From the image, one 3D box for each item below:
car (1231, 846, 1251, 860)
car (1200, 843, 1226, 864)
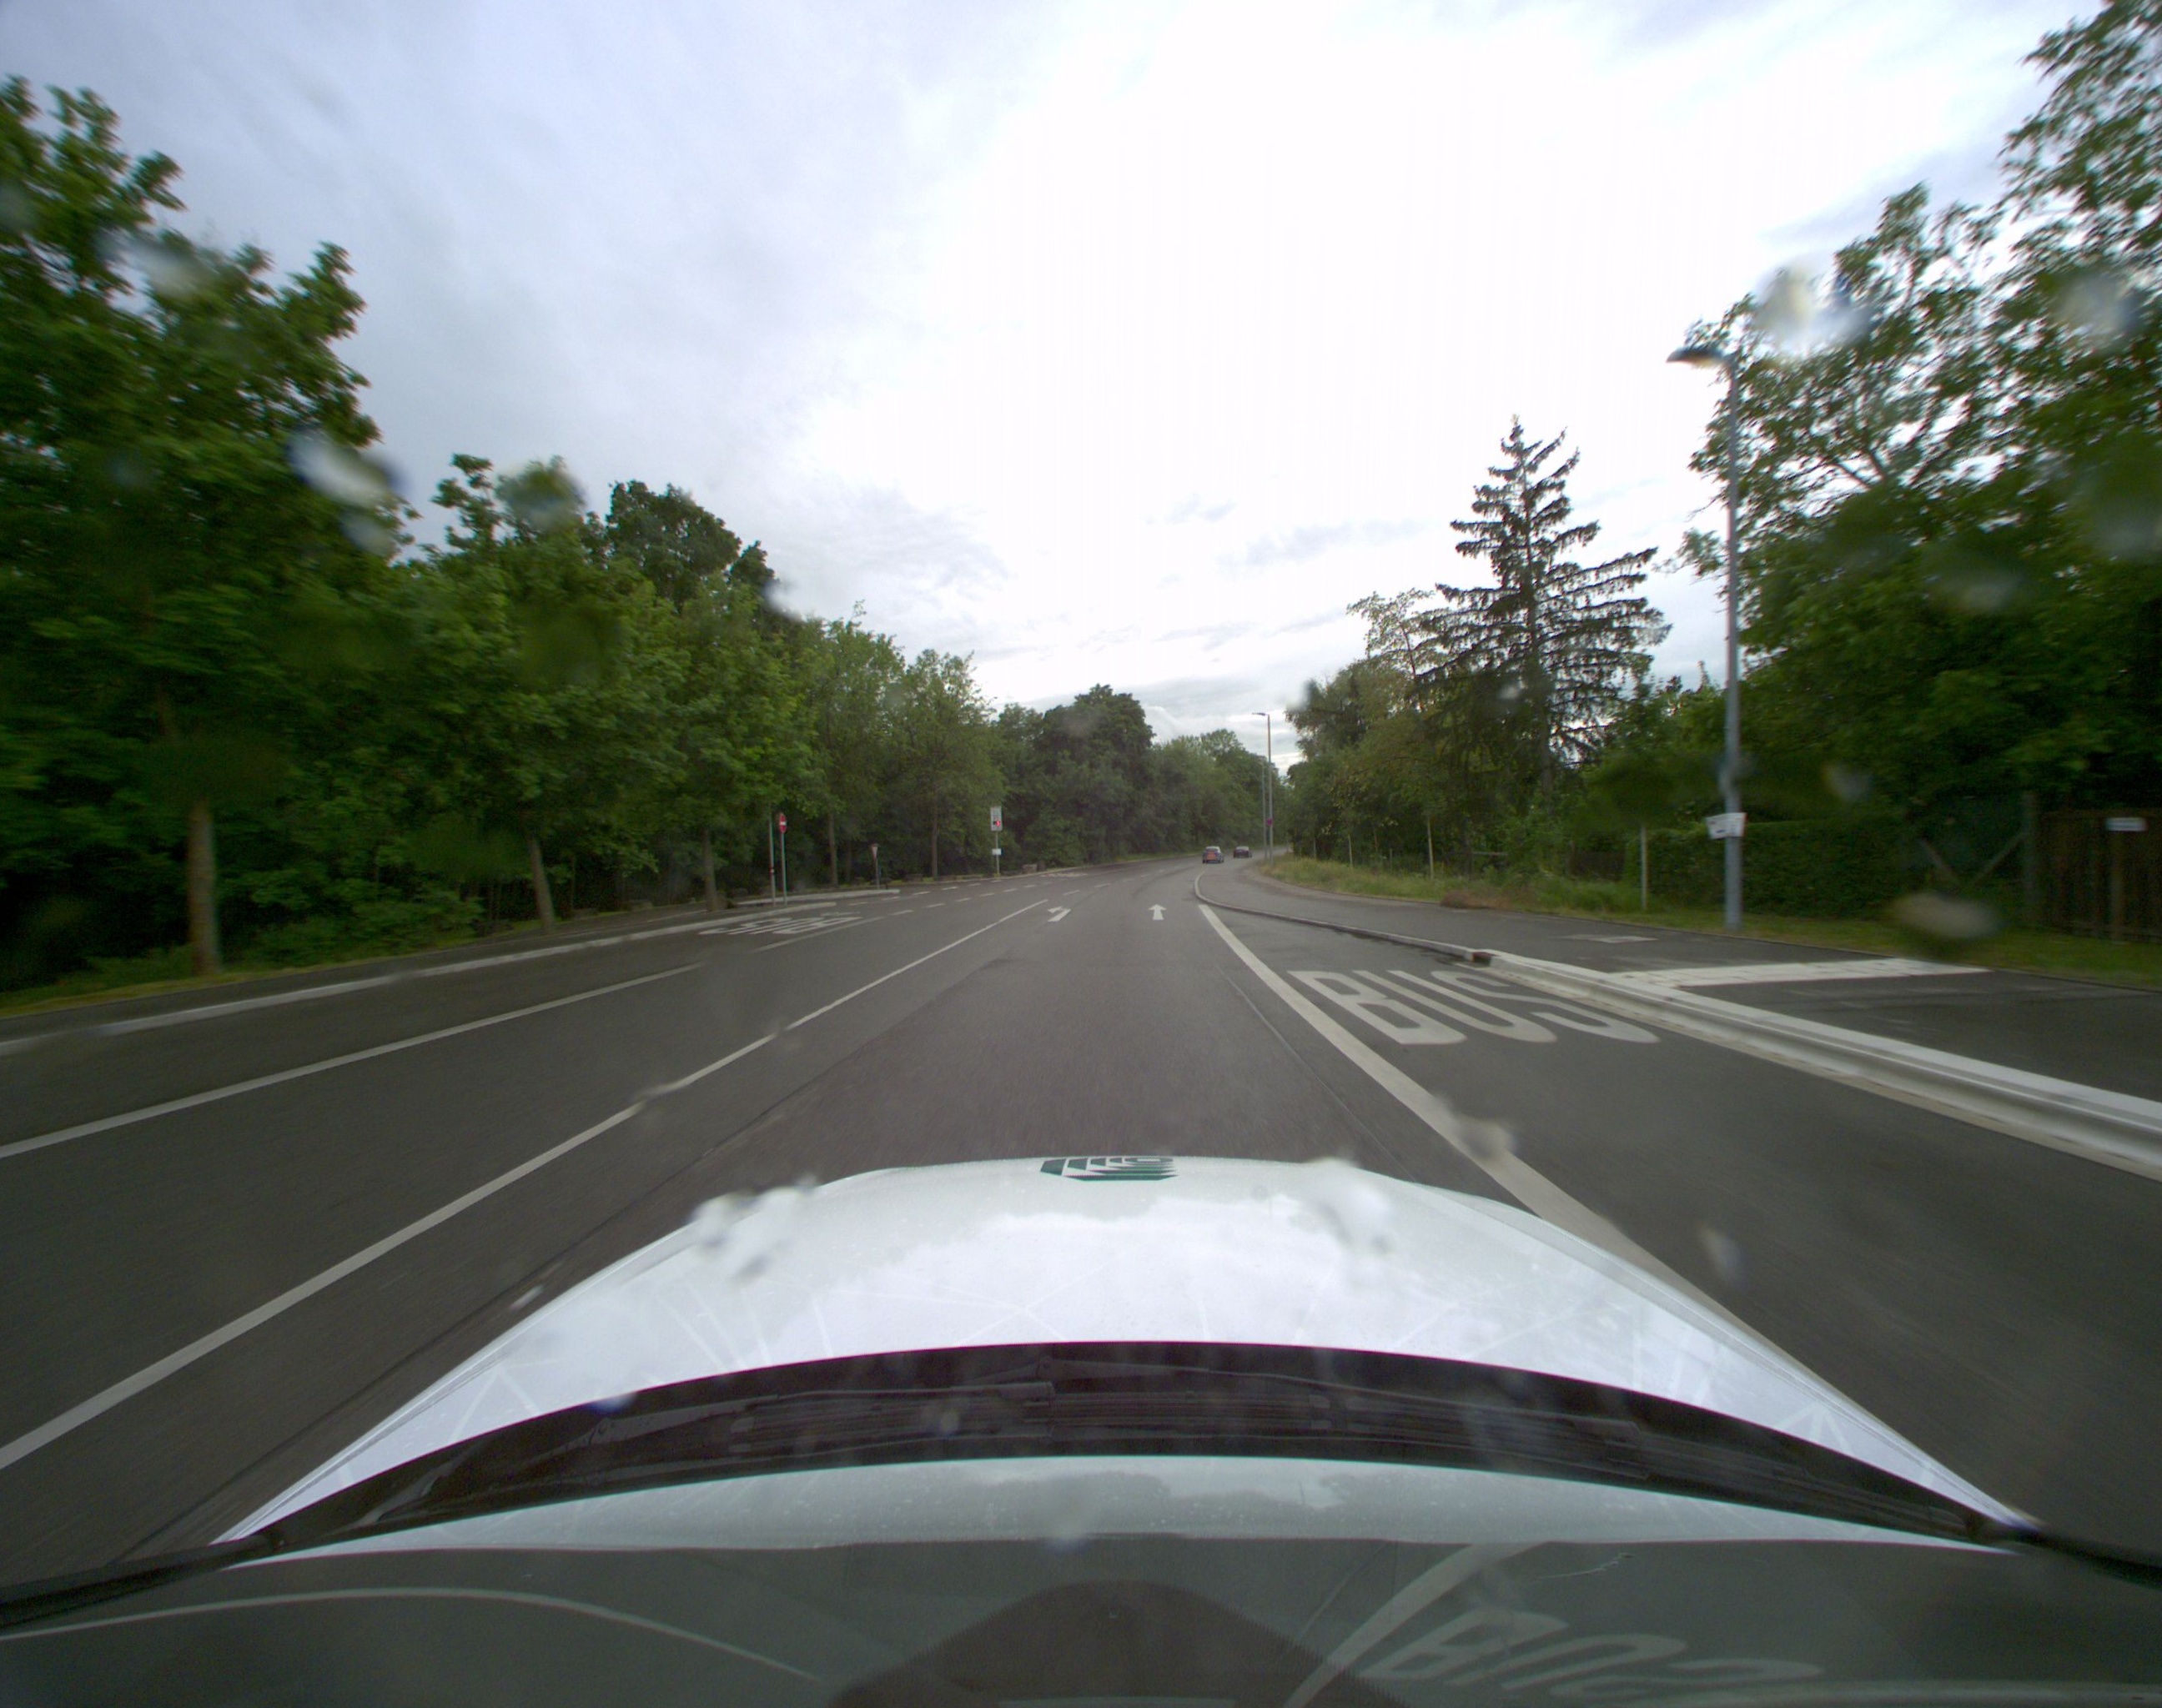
[{"bbox_3d":[19.364,-0.169,98.408,1.912,1.486,3.818,-3,2,18],"label":"car"},{"bbox_3d":[12.789,-0.067,78.622,1.978,1.689,4.018,-3,2,16],"label":"car"}]
